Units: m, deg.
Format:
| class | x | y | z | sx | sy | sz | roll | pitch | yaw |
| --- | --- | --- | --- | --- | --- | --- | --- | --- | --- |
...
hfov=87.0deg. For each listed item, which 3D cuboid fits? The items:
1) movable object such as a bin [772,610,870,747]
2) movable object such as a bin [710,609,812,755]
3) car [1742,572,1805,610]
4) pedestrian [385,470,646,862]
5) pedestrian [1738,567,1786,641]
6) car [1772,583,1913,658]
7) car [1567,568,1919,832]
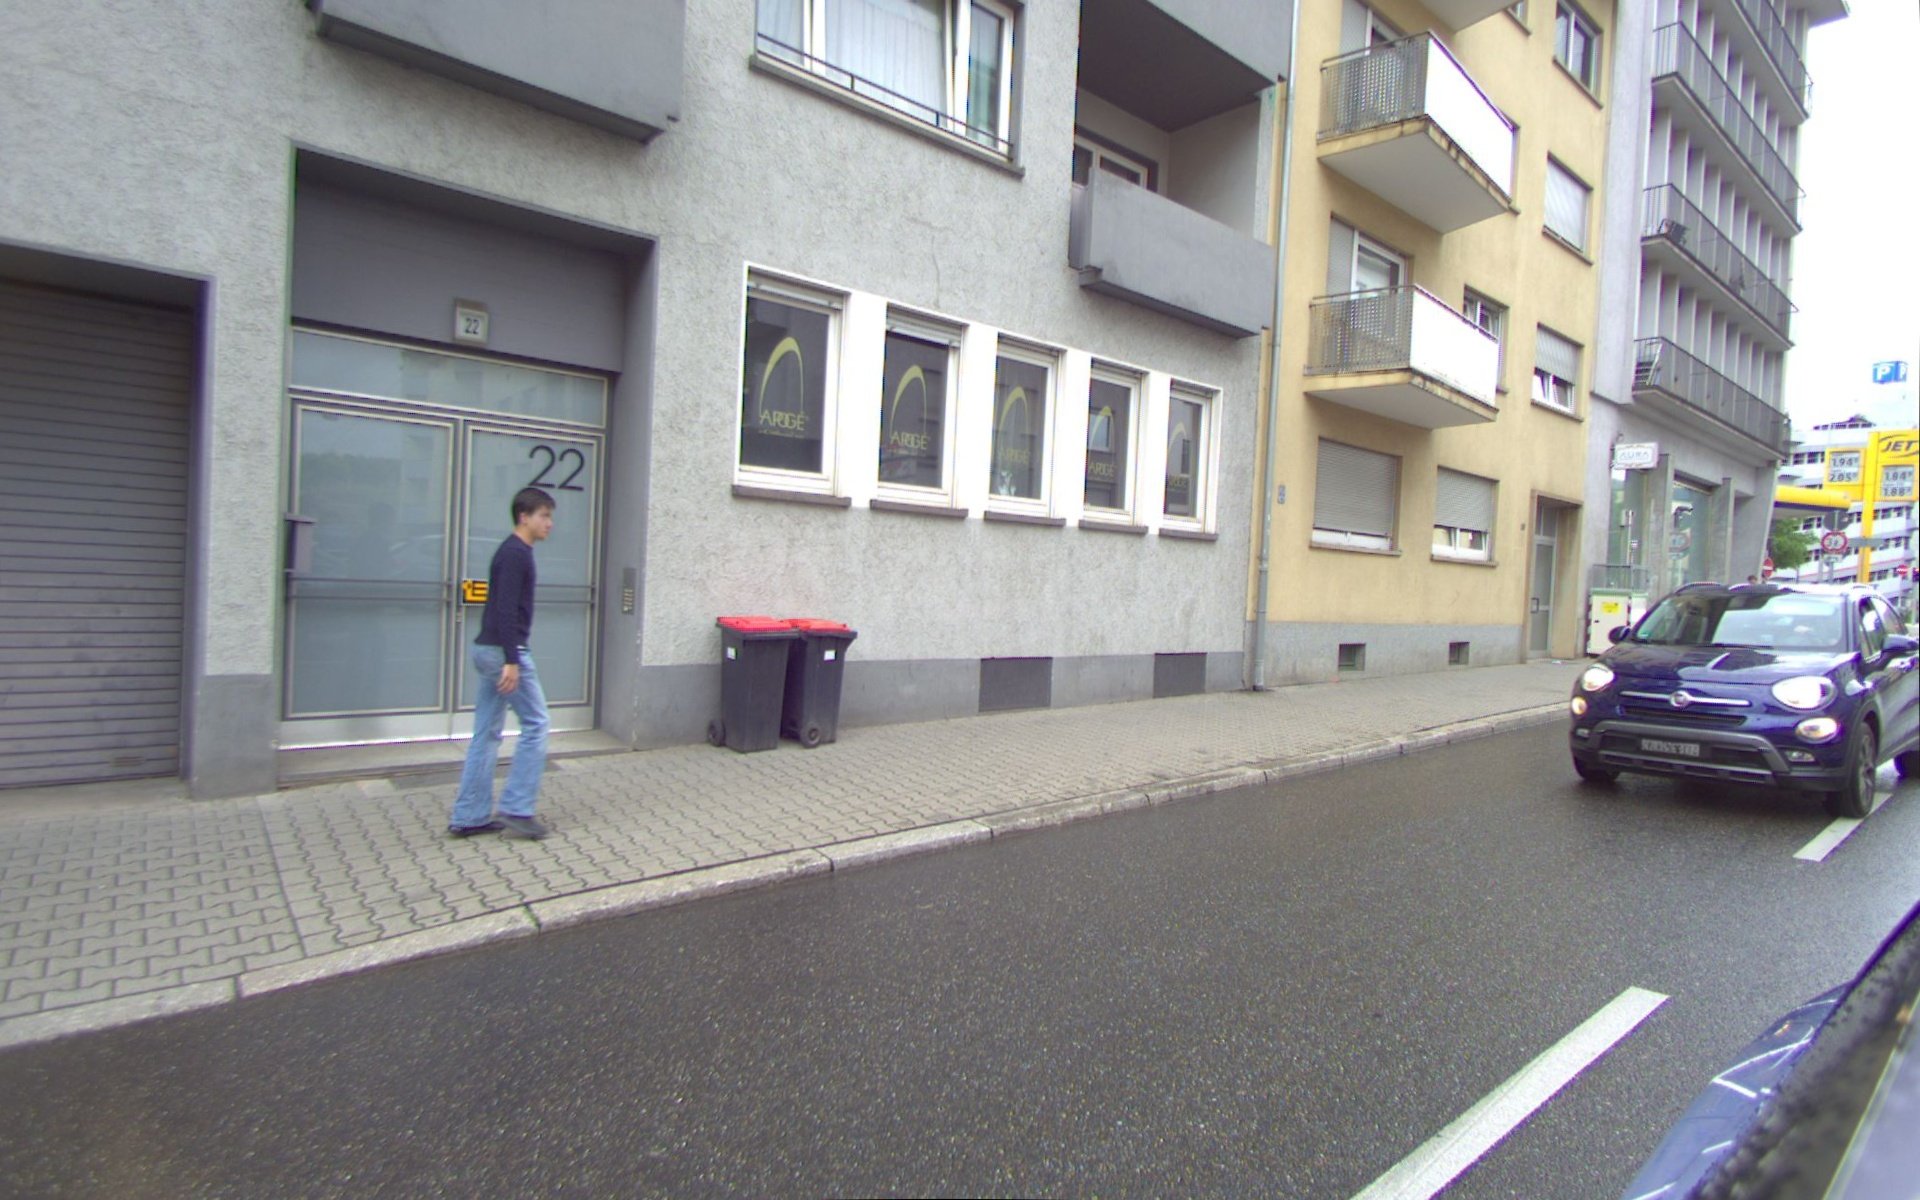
| class | x | y | z | sx | sy | sz | roll | pitch | yaw |
| --- | --- | --- | --- | --- | --- | --- | --- | --- | --- |
| movable object such as a bin | -1.074 | 0.581 | 7.792 | 0.506 | 0.961 | 0.541 | 0 | 5 | -40 |
| movable object such as a bin | -1.467 | 0.577 | 7.440 | 0.506 | 0.967 | 0.541 | 0 | 5 | -40 |
| car | 33.794 | -0.351 | 42.015 | 1.766 | 1.493 | 3.938 | 0 | 0 | 43 |
| pedestrian | -2.274 | 0.279 | 5.190 | 1.038 | 1.799 | 0.644 | 0 | 5 | -41 |
| pedestrian | 19.827 | 0.086 | 25.011 | 0.872 | 1.777 | 0.679 | 0 | 2 | -39 |
| car | 20.116 | 0.402 | 23.014 | 4.093 | 1.453 | 1.803 | 0 | 4 | -41 |
| car | 6.568 | 0.577 | 8.114 | 3.930 | 1.600 | 1.770 | 0 | 1 | -41 |
